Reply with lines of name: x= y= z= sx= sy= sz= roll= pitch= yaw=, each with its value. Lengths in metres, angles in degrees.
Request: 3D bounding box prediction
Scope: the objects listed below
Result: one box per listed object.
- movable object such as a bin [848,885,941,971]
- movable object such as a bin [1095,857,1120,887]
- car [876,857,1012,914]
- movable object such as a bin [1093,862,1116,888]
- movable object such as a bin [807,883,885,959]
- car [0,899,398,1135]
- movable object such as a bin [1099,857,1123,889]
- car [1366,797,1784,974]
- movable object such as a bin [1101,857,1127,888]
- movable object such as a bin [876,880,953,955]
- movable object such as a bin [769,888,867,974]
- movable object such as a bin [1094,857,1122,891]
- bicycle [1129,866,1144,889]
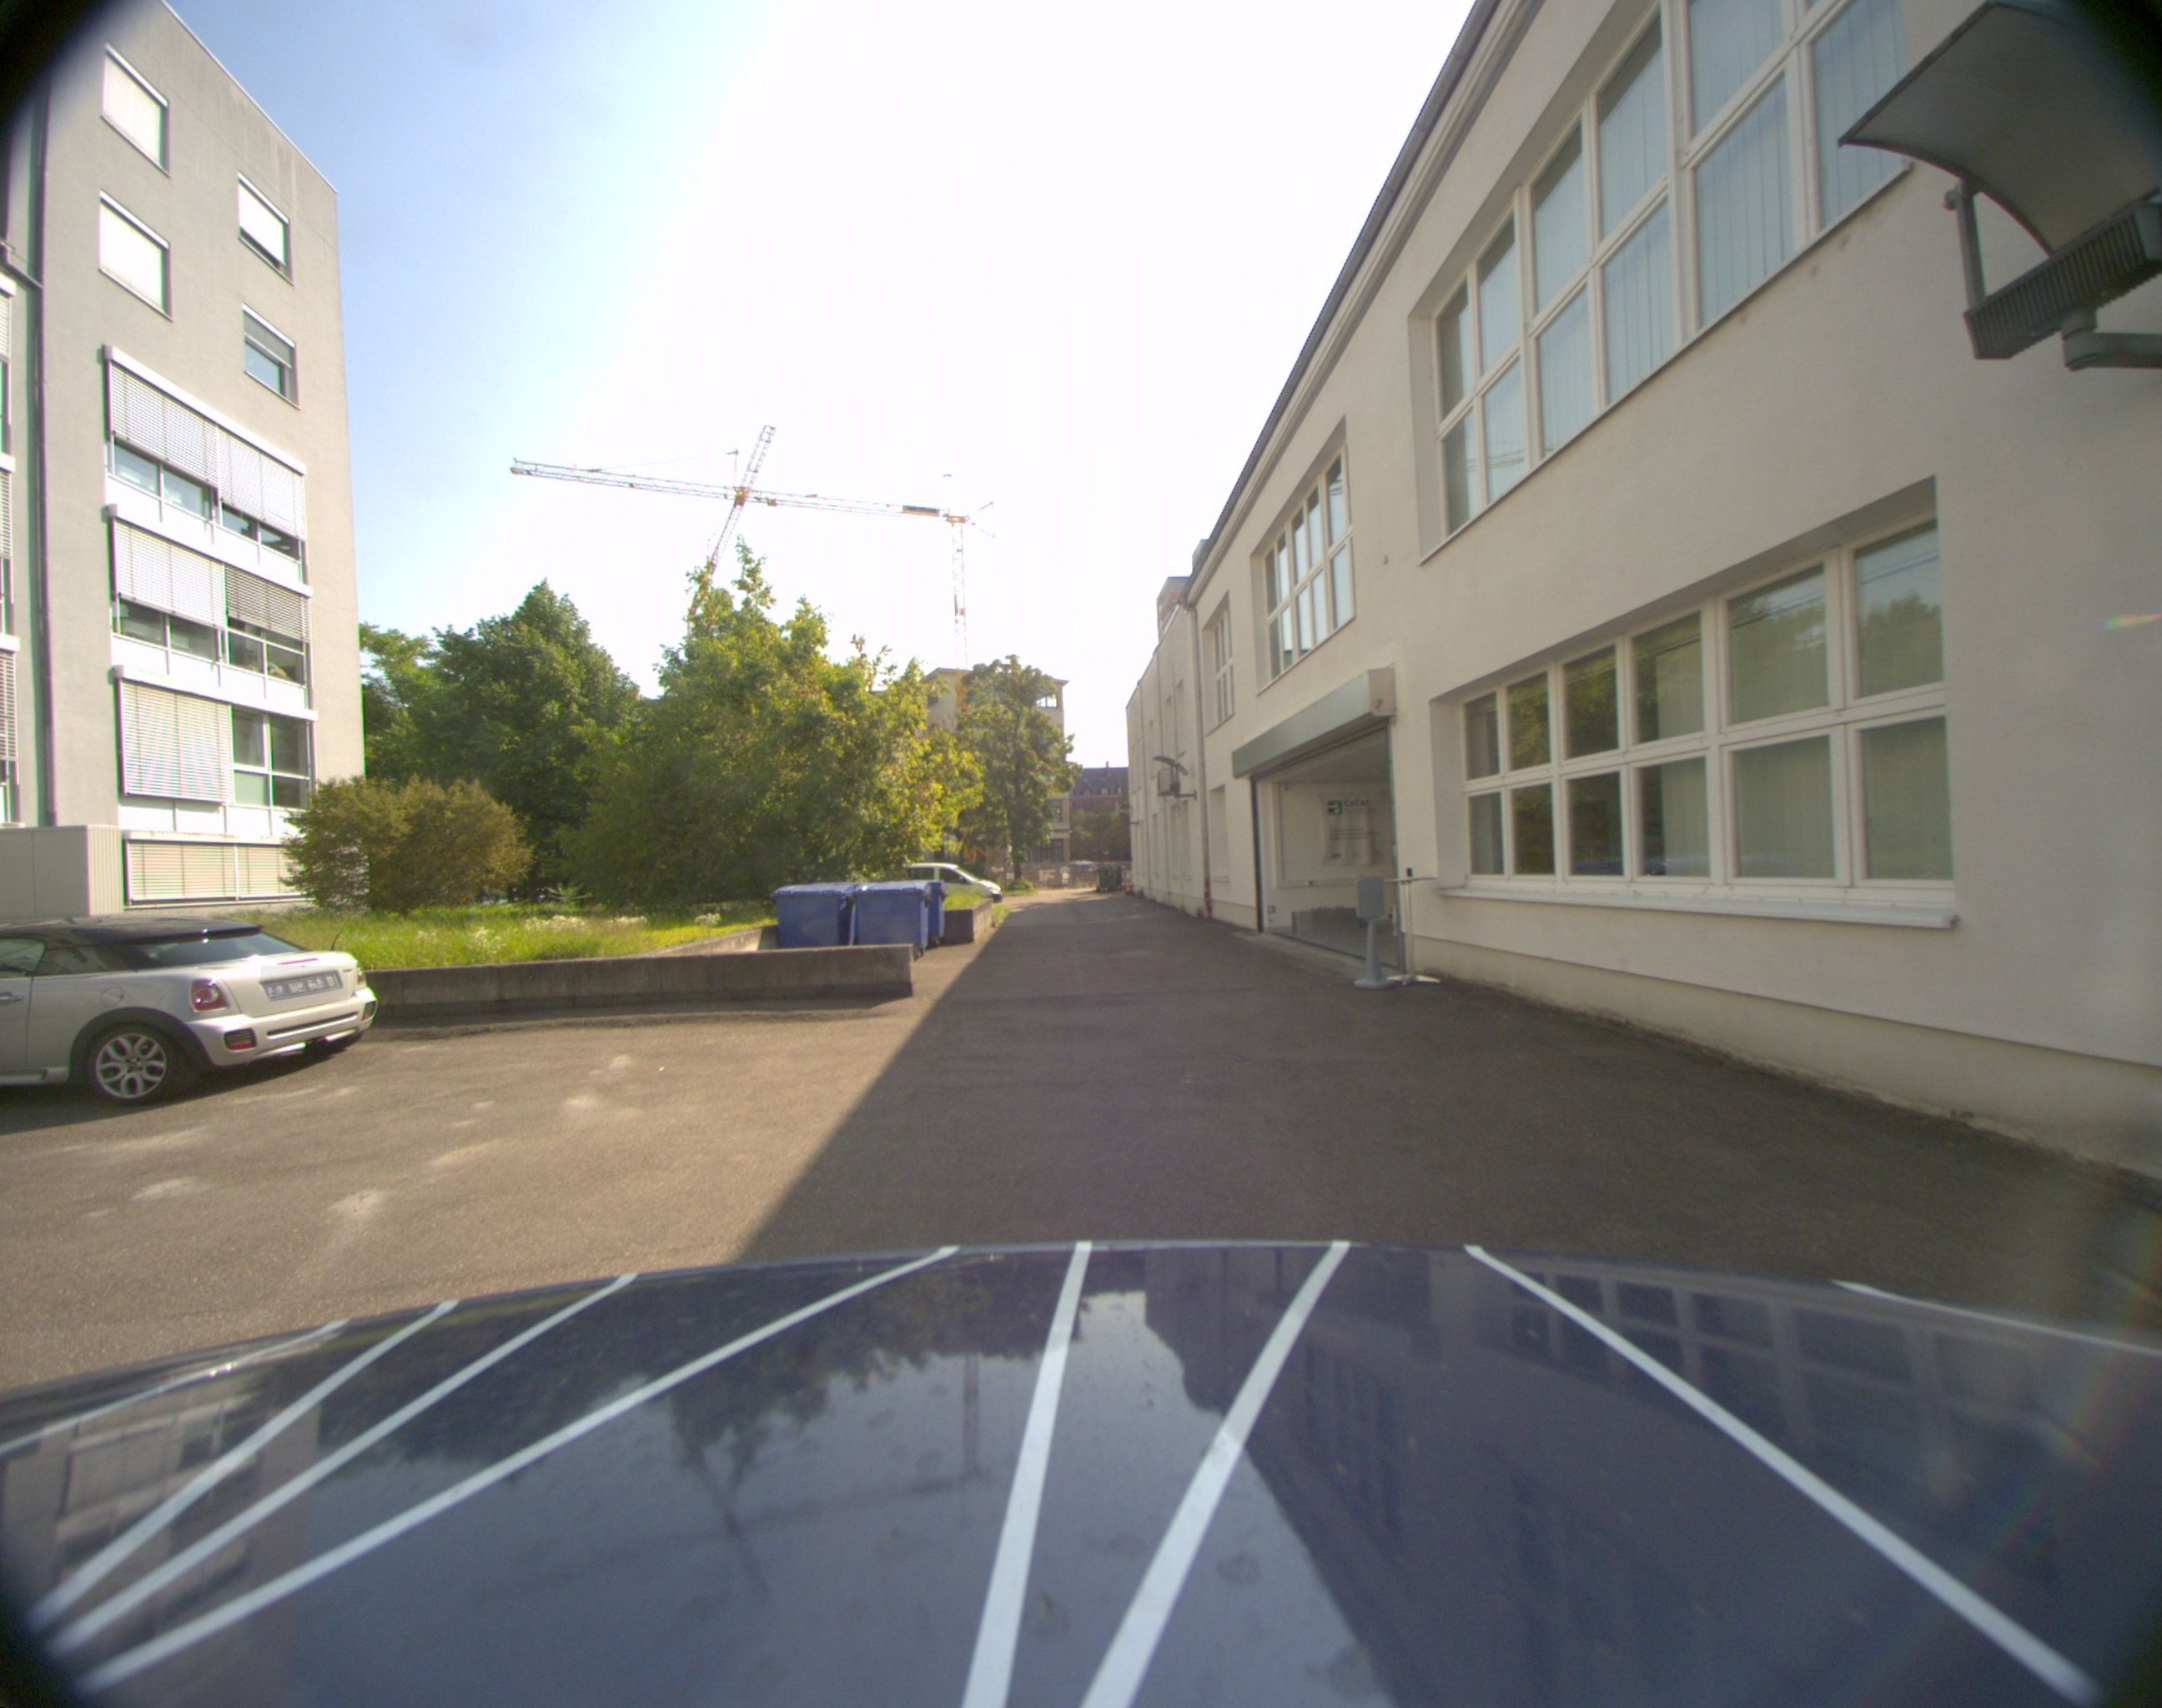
movable object such as a bin: x=-3.225 y=1.260 z=13.292 sx=1.304 sy=1.332 sz=1.194 roll=-3 pitch=0 yaw=-3
movable object such as a bin: x=1.538 y=1.034 z=44.703 sx=1.184 sy=1.696 sz=1.376 roll=-3 pitch=0 yaw=-7
car: x=-5.384 y=1.226 z=30.368 sx=4.970 sy=1.910 sz=2.043 roll=-3 pitch=1 yaw=-1
movable object such as a bin: x=1.429 y=1.256 z=46.098 sx=1.037 sy=1.489 sz=1.106 roll=-3 pitch=0 yaw=-14
movable object such as a bin: x=-4.599 y=1.292 z=14.994 sx=1.230 sy=1.332 sz=1.076 roll=-3 pitch=0 yaw=-7
car: x=-8.332 y=1.223 z=6.269 sx=3.629 sy=1.536 sz=1.802 roll=1 pitch=0 yaw=-5
movable object such as a bin: x=1.650 y=1.032 z=41.899 sx=1.183 sy=1.696 sz=1.395 roll=-3 pitch=0 yaw=1
car: x=7.006 y=0.414 z=11.160 sx=4.760 sy=2.080 sz=2.055 roll=-3 pitch=0 yaw=-2
movable object such as a bin: x=1.868 y=1.020 z=43.319 sx=1.184 sy=1.696 sz=1.376 roll=-3 pitch=0 yaw=-7
movable object such as a bin: x=-3.266 y=1.228 z=15.044 sx=1.313 sy=1.332 sz=1.099 roll=-3 pitch=0 yaw=-6
movable object such as a bin: x=-4.555 y=1.310 z=13.277 sx=1.238 sy=1.332 sz=1.117 roll=-3 pitch=0 yaw=1
movable object such as a bin: x=1.414 y=1.046 z=40.087 sx=1.184 sy=1.696 sz=1.376 roll=-3 pitch=0 yaw=-7
bicycle: x=3.046 y=1.280 z=41.689 sx=0.477 sy=1.206 sz=2.007 roll=-3 pitch=0 yaw=-4
